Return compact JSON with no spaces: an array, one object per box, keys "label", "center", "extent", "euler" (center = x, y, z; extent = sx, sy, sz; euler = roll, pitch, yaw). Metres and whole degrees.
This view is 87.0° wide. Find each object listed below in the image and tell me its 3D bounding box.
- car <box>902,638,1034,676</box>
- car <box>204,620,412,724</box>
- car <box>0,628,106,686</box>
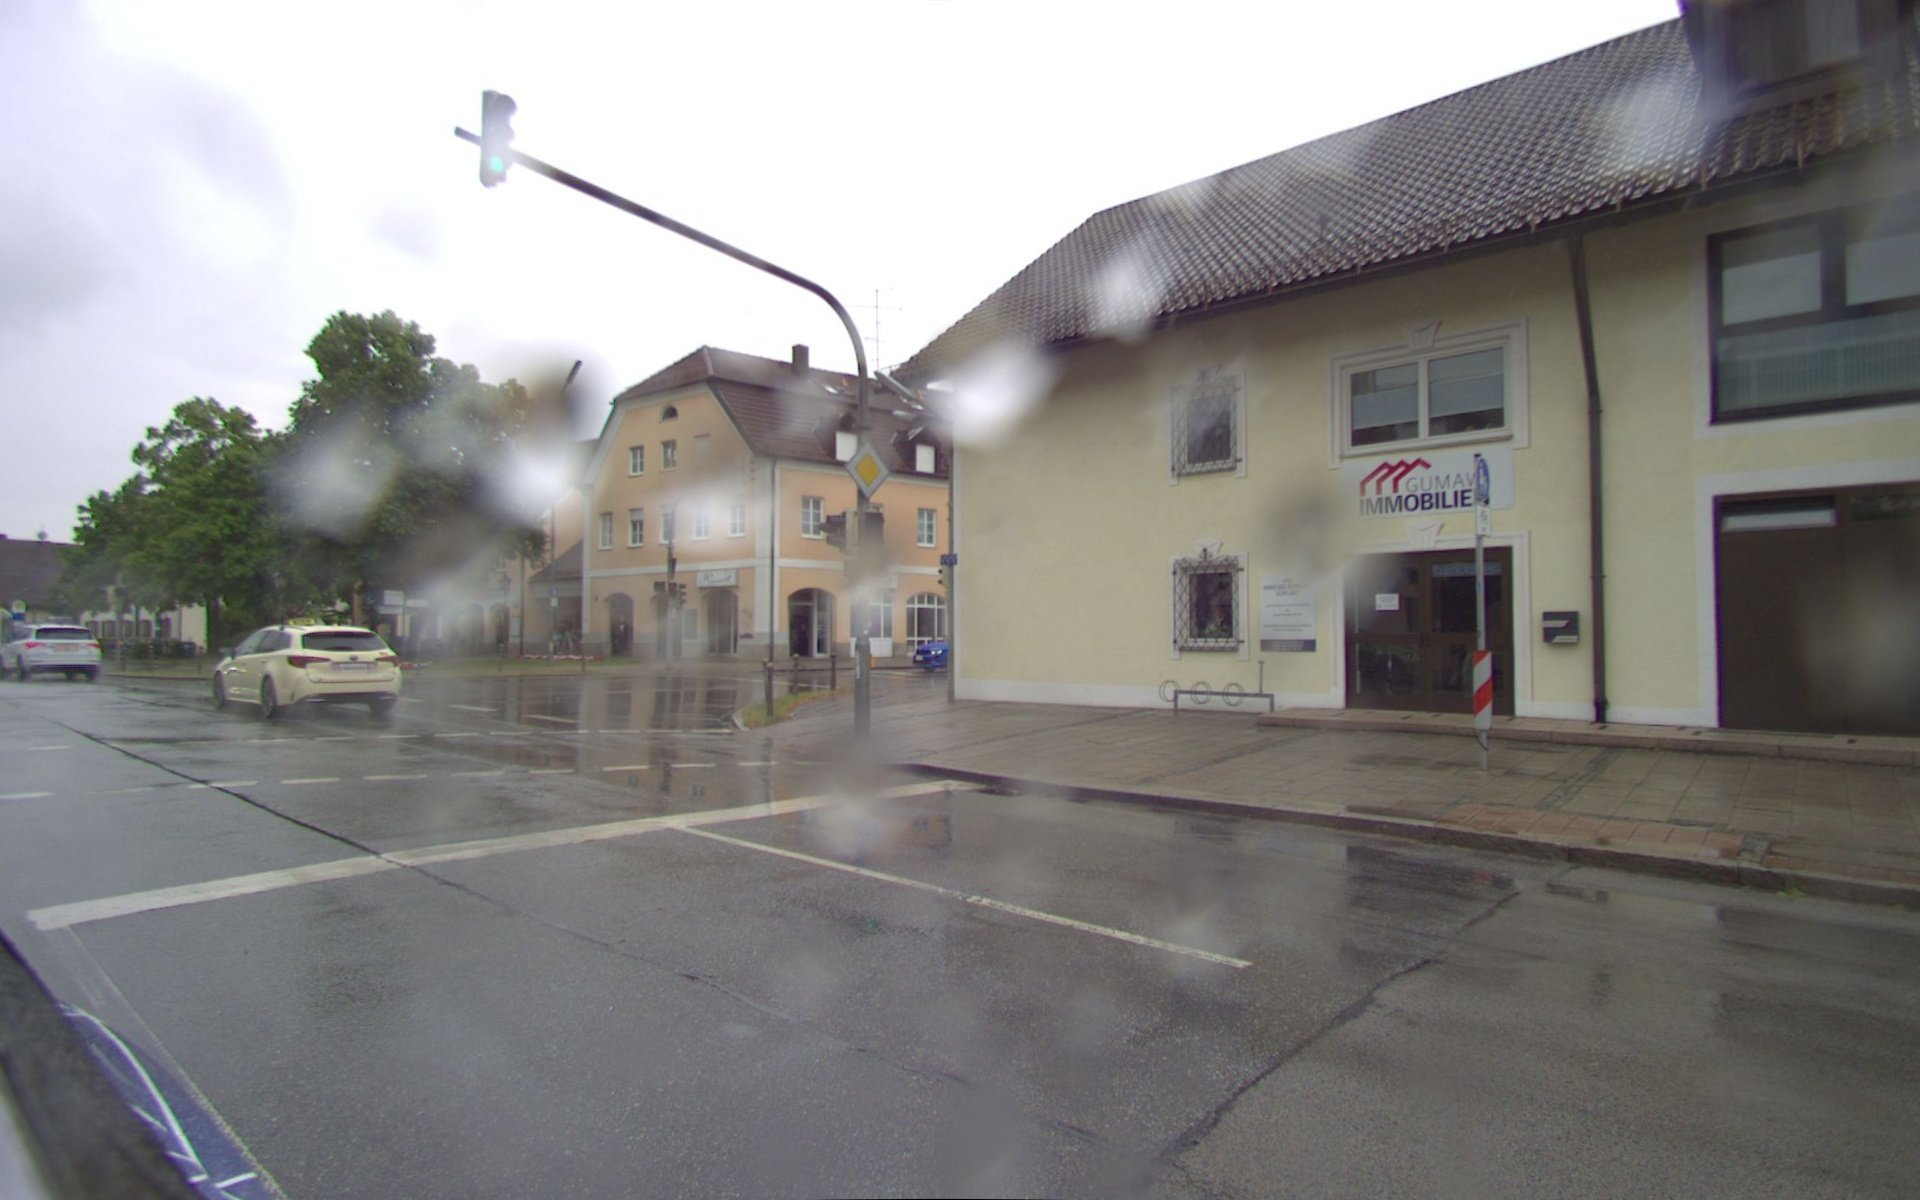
[{"label":"car","center":[0.302,1.906,34.372],"extent":[4.288,1.194,1.694],"euler":[1,-2,-35]},{"label":"car","center":[-10.939,1.140,16.876],"extent":[4.227,1.523,1.734],"euler":[-1,-4,41]},{"label":"car","center":[-26.660,1.608,29.553],"extent":[4.122,1.578,1.907],"euler":[-1,-3,40]}]
